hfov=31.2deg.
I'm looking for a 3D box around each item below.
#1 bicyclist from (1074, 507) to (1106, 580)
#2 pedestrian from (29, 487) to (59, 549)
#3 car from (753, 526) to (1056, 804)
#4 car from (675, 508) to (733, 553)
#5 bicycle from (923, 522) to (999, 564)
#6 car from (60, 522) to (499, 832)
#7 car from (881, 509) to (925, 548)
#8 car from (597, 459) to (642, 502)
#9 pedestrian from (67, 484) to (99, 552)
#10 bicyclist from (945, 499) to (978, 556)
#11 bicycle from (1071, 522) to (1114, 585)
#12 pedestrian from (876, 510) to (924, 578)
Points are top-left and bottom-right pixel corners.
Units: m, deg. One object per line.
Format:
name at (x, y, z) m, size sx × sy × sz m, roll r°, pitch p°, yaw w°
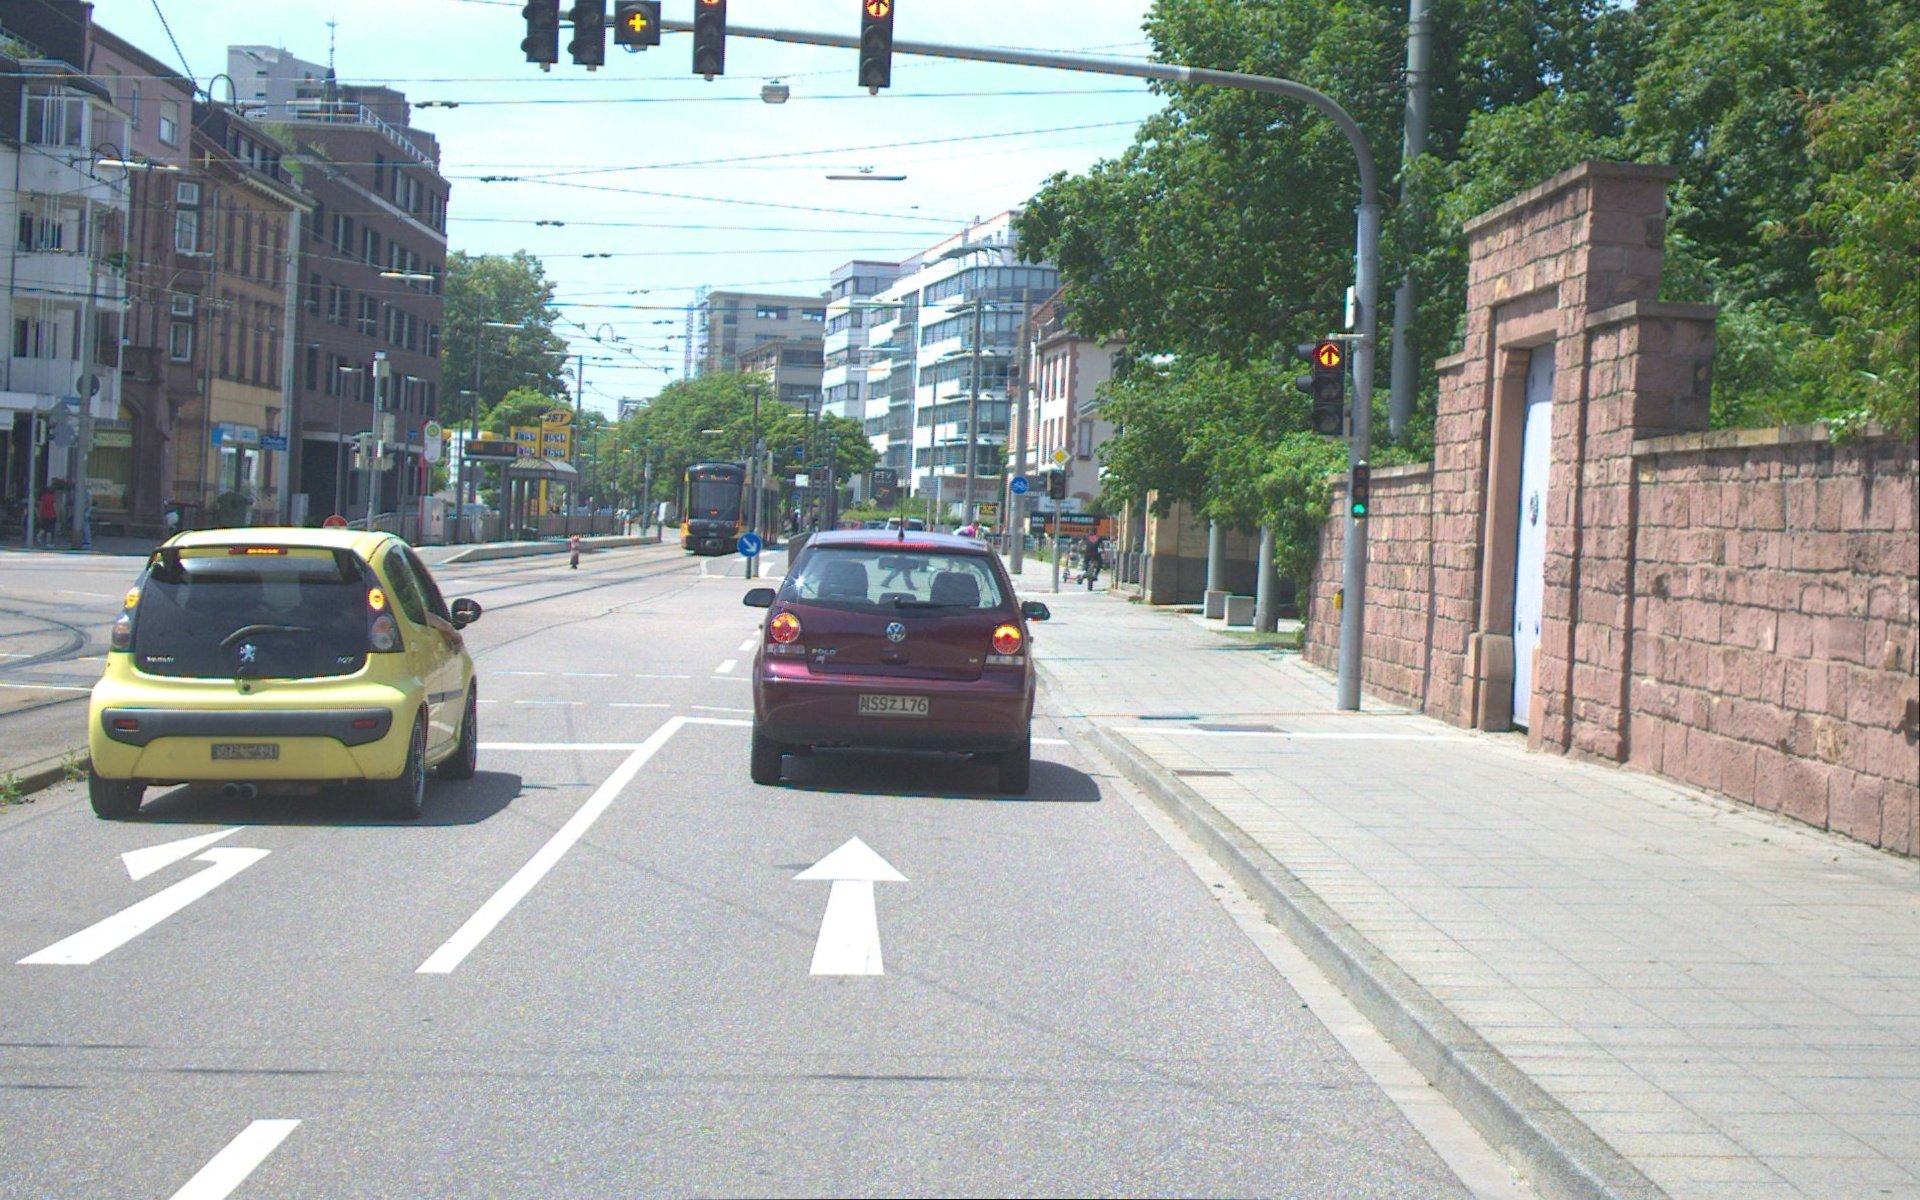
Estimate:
bicyclist at (3.293, -1.430, 86.890) m, size 0.721 × 1.812 × 0.888 m, roll 1°, pitch 0°, yaw -1°
pedestrian at (-23.086, -2.069, 86.651) m, size 0.484 × 1.535 × 0.537 m, roll 1°, pitch 0°, yaw 24°
car at (-0.353, 0.316, 21.050) m, size 1.610 × 1.458 × 4.086 m, roll 3°, pitch 1°, yaw -1°
car at (-9.668, -2.625, 130.004) m, size 1.938 × 1.635 × 4.000 m, roll 1°, pitch 1°, yaw -1°
bicycle at (0.024, -1.435, 86.338) m, size 1.865 × 1.004 × 0.579 m, roll 1°, pitch 0°, yaw -5°
car at (-3.488, 0.333, 18.157) m, size 1.723 × 1.440 × 3.293 m, roll 1°, pitch 2°, yaw -1°
car at (-2.099, -2.627, 126.501) m, size 1.572 × 1.411 × 3.720 m, roll 0°, pitch 1°, yaw -1°
car at (-16.546, -5.813, 167.277) m, size 1.735 × 2.007 × 4.000 m, roll 2°, pitch 1°, yaw -1°
pedestrian at (-22.859, -2.144, 89.615) m, size 0.609 × 1.748 × 0.505 m, roll 1°, pitch 1°, yaw -45°
bicyclist at (0.044, -1.813, 86.318) m, size 0.765 × 1.401 × 0.506 m, roll 1°, pitch 0°, yaw -4°
bicycle at (3.314, -1.158, 86.248) m, size 0.835 × 1.520 × 4.000 m, roll 1°, pitch 1°, yaw -1°
pedestrian at (-1.517, -1.419, 86.707) m, size 0.981 × 1.655 × 0.919 m, roll 2°, pitch 1°, yaw -11°
